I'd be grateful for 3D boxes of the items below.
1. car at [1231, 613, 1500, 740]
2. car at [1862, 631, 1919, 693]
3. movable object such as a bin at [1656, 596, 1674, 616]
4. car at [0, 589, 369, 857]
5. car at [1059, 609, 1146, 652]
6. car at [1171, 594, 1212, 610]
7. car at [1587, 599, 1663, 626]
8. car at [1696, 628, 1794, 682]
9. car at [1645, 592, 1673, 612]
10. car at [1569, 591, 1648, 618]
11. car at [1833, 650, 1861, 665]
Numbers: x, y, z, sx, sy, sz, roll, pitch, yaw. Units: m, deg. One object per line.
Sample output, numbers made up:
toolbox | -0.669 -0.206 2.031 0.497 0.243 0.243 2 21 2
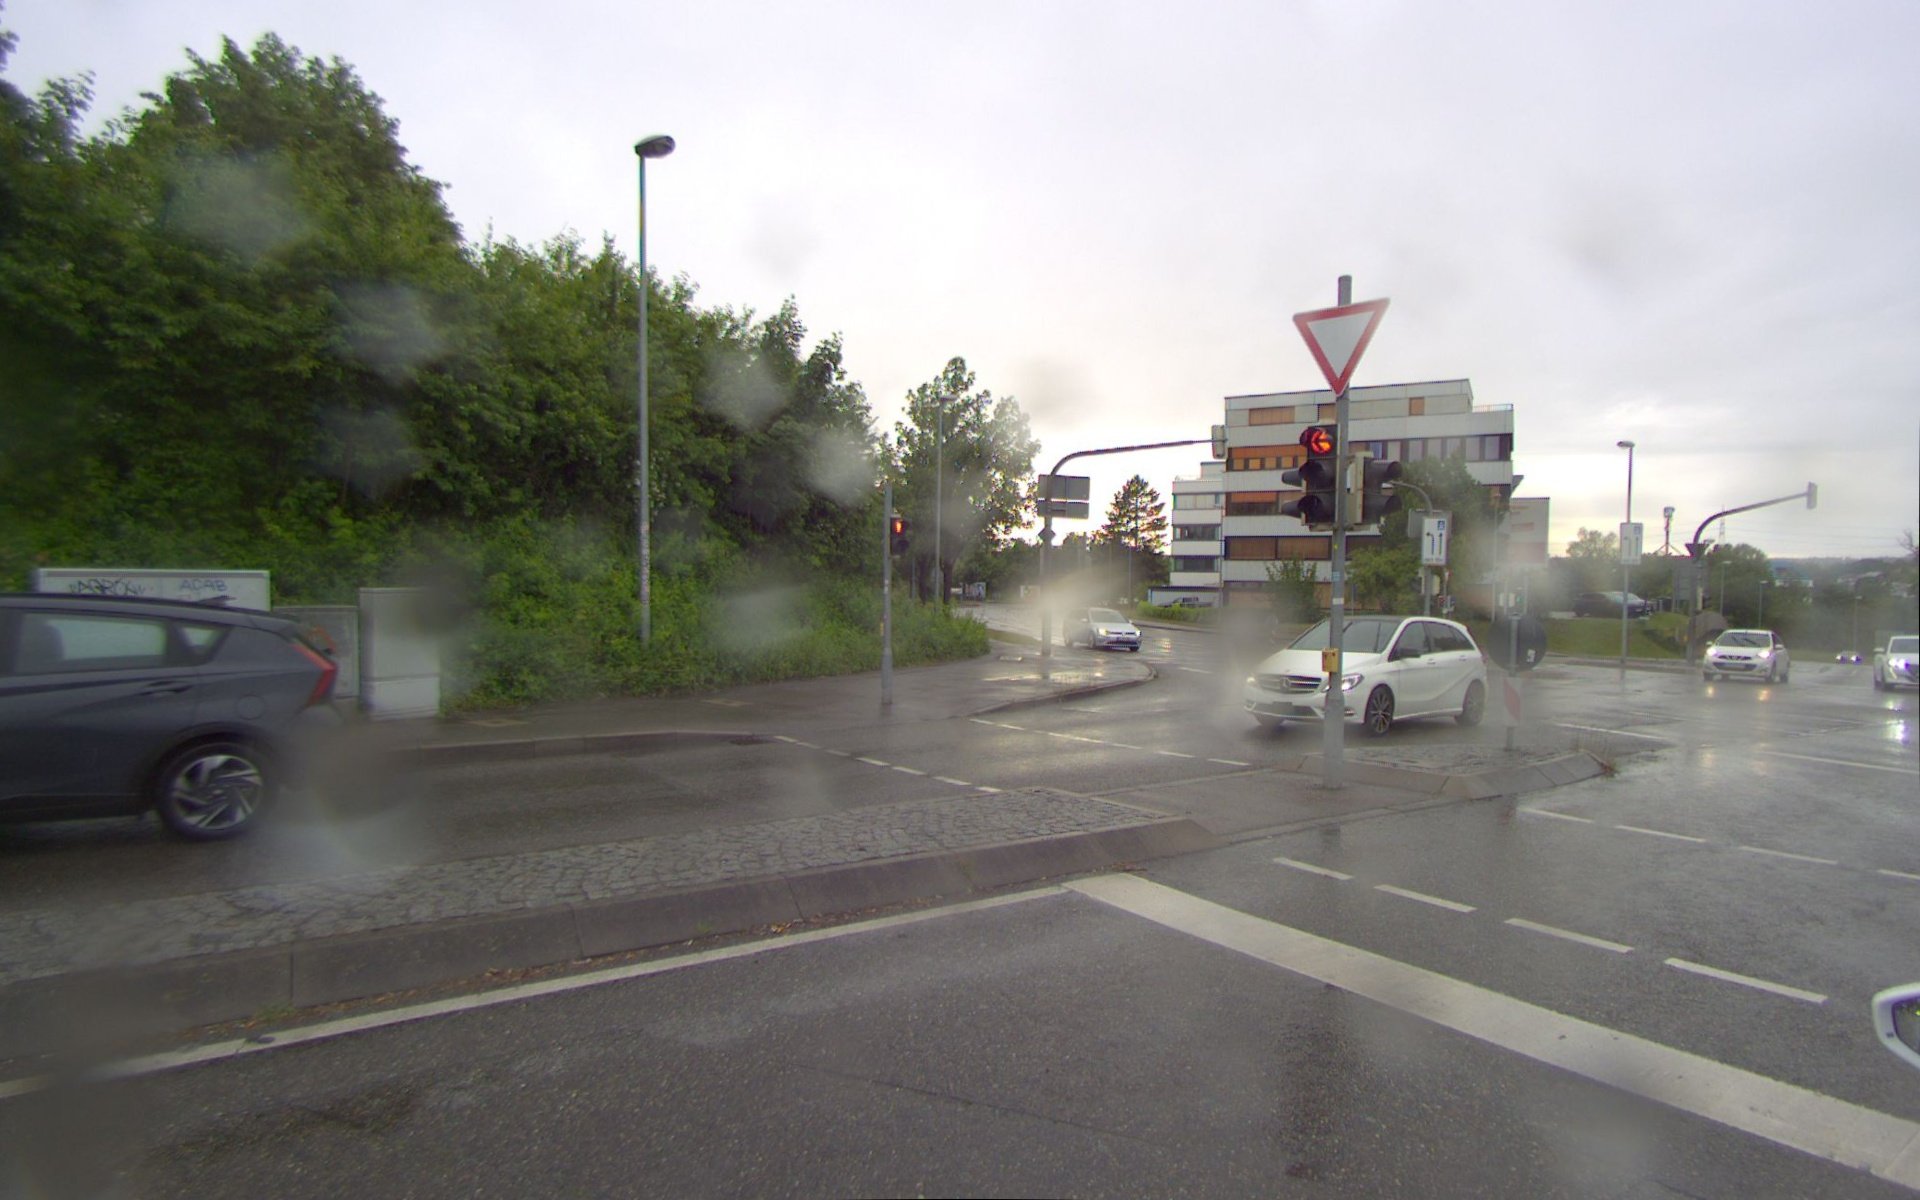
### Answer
car | 5.812 0.997 14.161 4.285 1.524 1.651 2 -2 -39
car | 25.666 1.629 26.917 1.841 1.528 3.966 2 0 37
movable object such as a bin | 55.724 0.488 79.385 1.069 1.456 1.443 3 0 34
car | -5.954 0.674 5.917 4.072 1.457 1.651 2 -2 -39
car | 5.094 1.071 36.525 1.731 1.381 4.523 2 0 -11
car | 22.217 0.199 96.329 3.686 1.418 2.000 1 1 19
car | 44.743 0.831 67.681 1.872 1.607 3.985 4 0 -17
car | 23.683 1.605 30.277 3.791 1.525 1.607 1 -1 -40
car | 60.383 0.182 86.811 1.802 1.461 3.990 3 -1 33
car | 42.435 0.294 65.805 1.874 1.607 3.981 4 0 -21
car | 97.342 6.267 110.205 3.965 1.514 1.648 2 -1 -38
